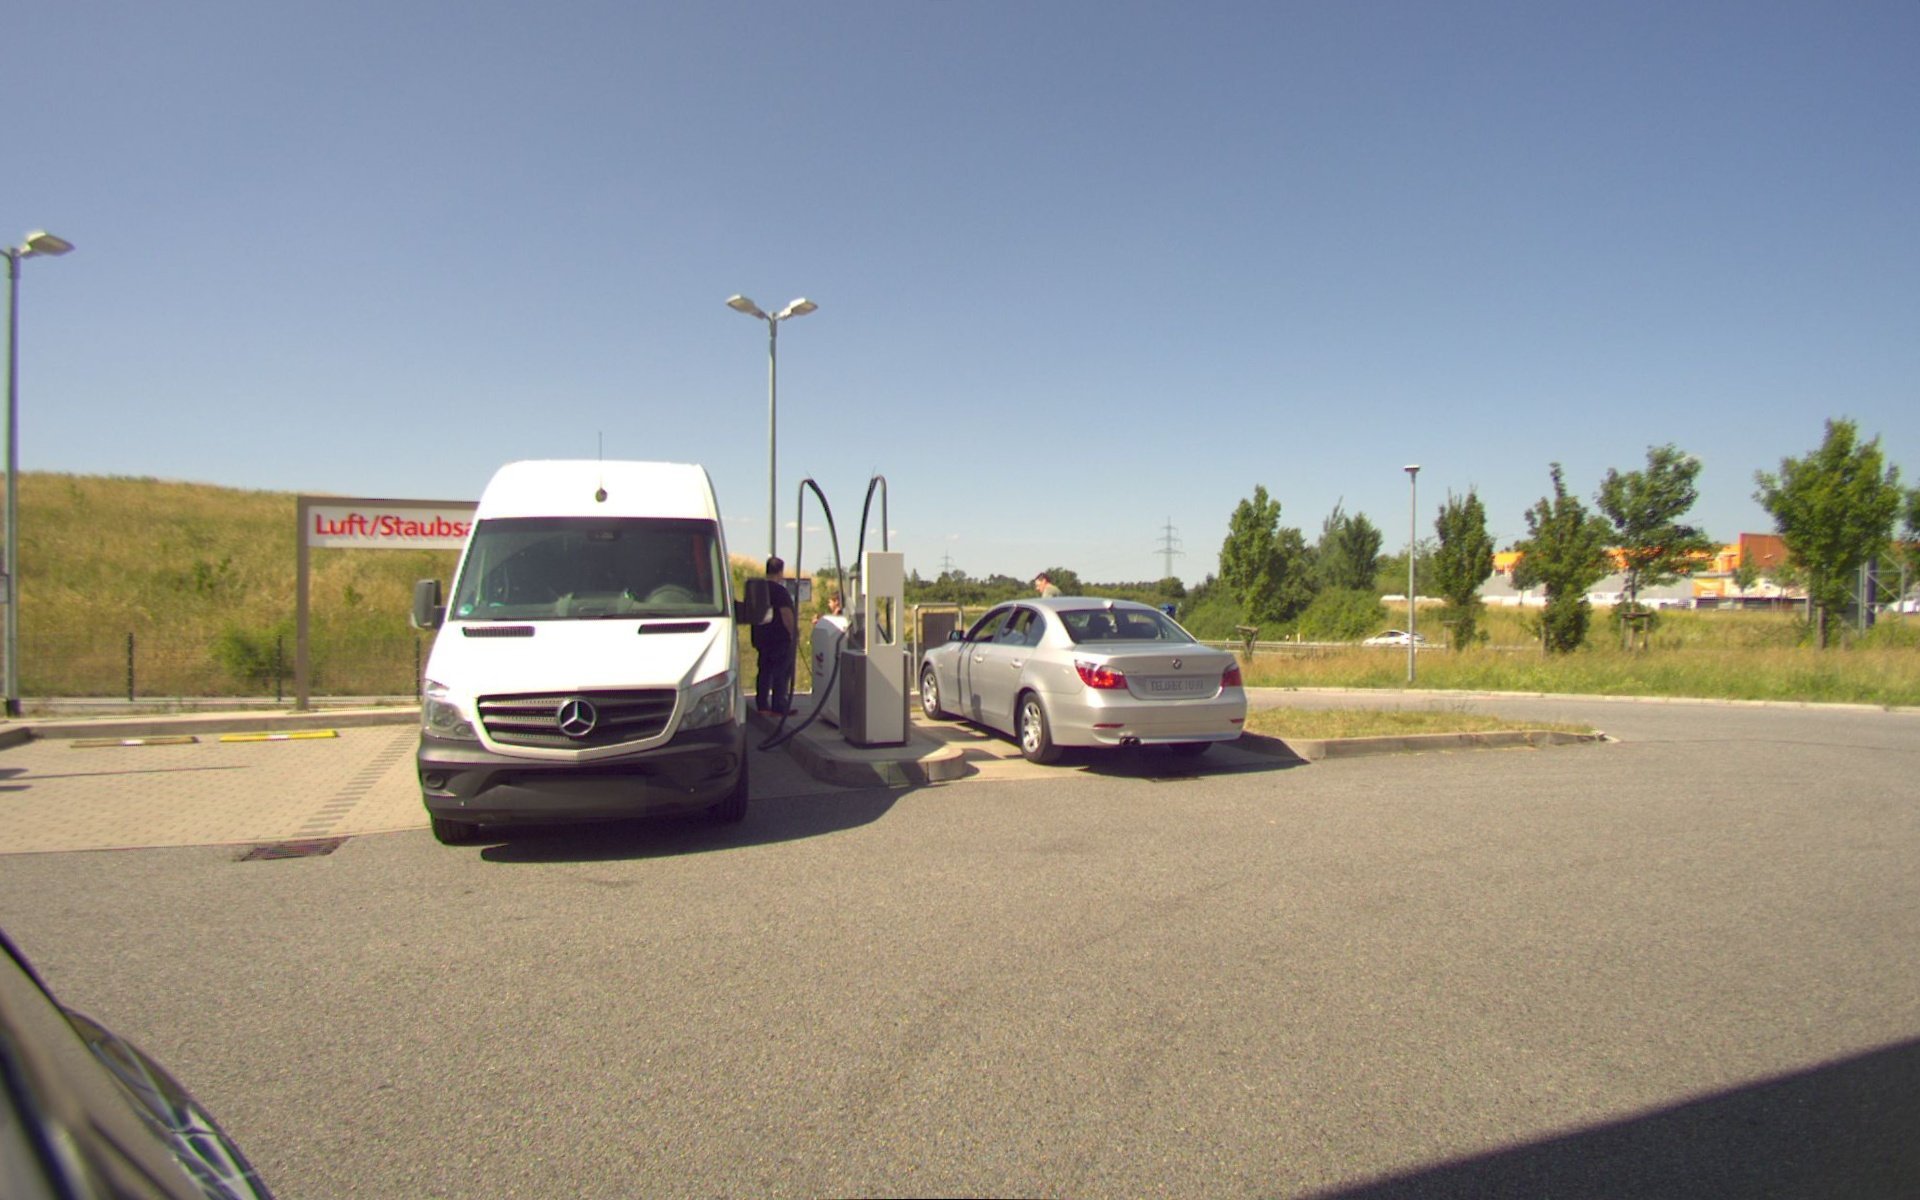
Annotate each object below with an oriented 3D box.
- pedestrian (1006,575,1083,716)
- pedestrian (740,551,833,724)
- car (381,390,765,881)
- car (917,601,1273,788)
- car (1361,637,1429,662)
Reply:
[{"bbox_3d":[1.107,0.579,13.149,0.839,1.762,0.704,0,-1,22],"label":"pedestrian"},{"bbox_3d":[-1.855,0.393,10.908,0.703,1.783,0.841,0,-1,16],"label":"pedestrian"},{"bbox_3d":[-2.968,0.119,8.985,1.966,2.590,7.051,1,1,-14],"label":"car"},{"bbox_3d":[1.059,0.745,10.243,1.762,1.439,4.336,0,0,-20],"label":"car"},{"bbox_3d":[29.461,3.322,68.644,1.864,1.530,4.013,1,-1,-23],"label":"car"}]
